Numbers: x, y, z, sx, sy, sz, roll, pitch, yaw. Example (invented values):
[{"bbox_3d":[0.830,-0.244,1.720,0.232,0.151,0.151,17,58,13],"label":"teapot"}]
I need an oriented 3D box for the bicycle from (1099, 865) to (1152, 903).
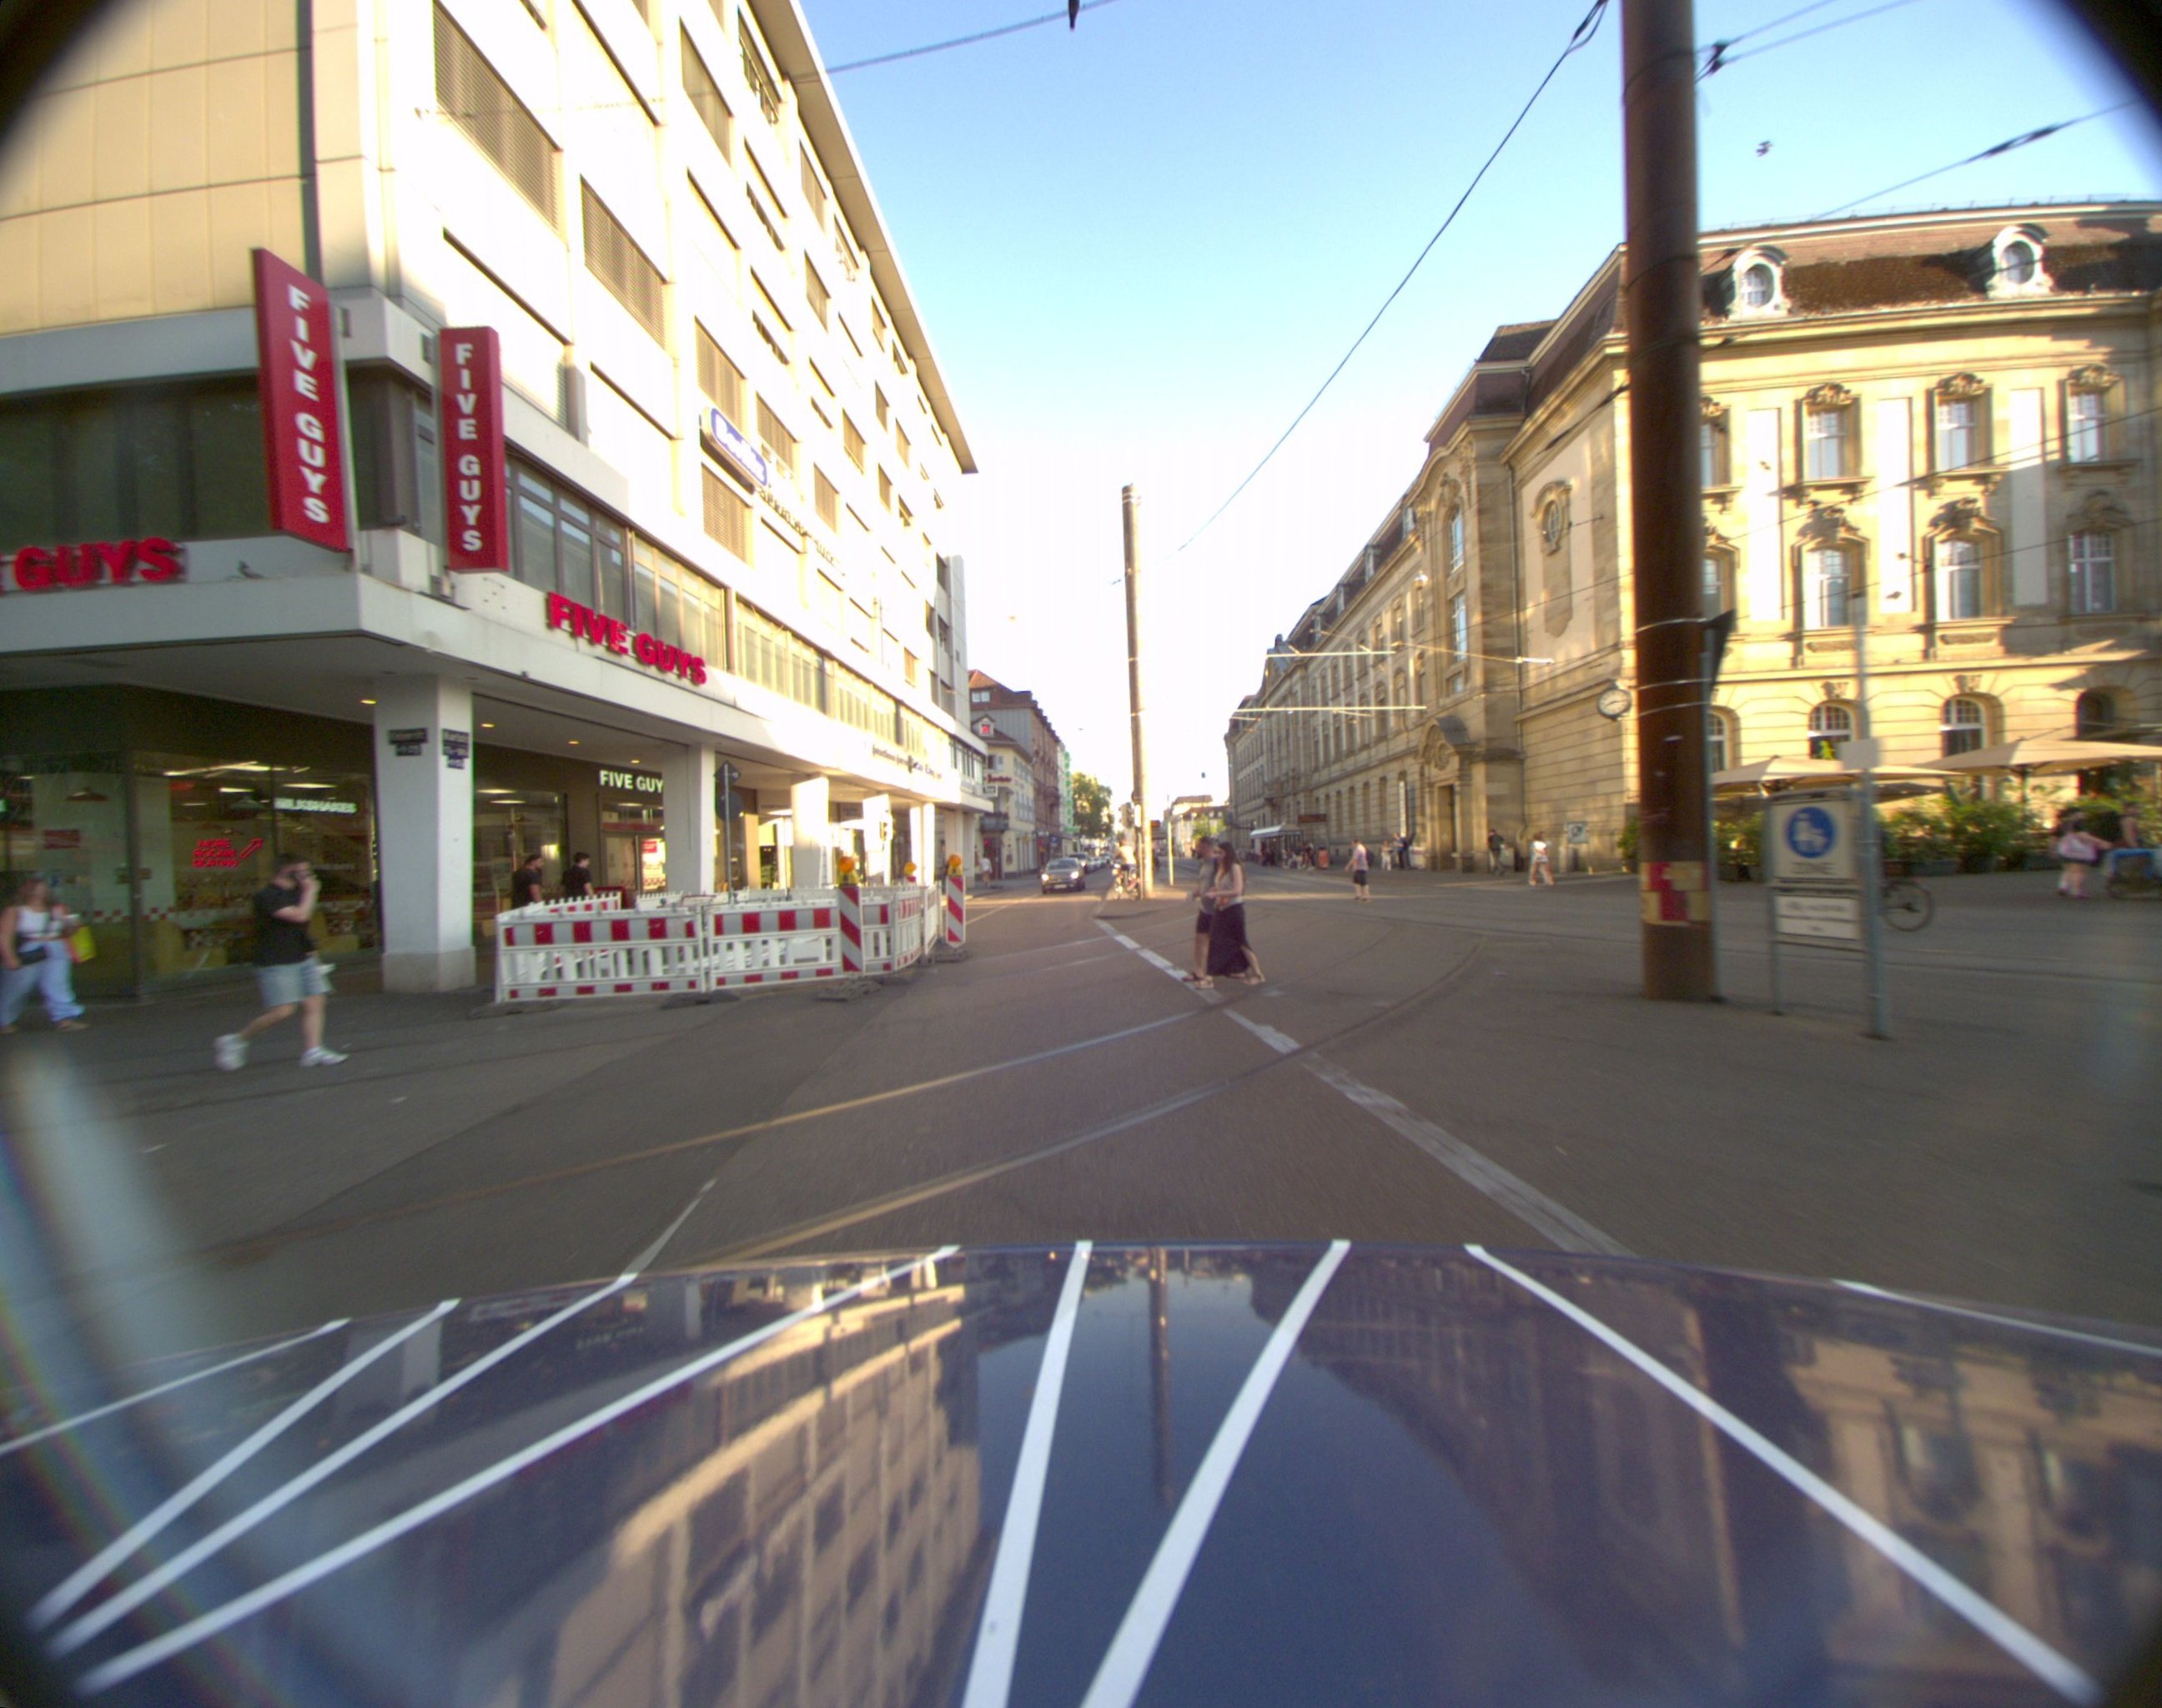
[{"bbox_3d":[1.336,0.882,23.029,0.631,1.097,1.621,-3,1,-42],"label":"bicycle"}]

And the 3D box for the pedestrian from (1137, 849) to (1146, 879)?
[{"bbox_3d":[3.439,0.570,43.236,0.386,1.632,0.549,-4,1,2],"label":"pedestrian"}]

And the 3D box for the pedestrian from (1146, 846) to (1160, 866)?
[{"bbox_3d":[5.962,0.150,62.655,0.686,1.628,0.863,-3,0,45],"label":"pedestrian"}]

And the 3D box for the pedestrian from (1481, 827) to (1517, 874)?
[{"bbox_3d":[15.051,-0.113,27.374,0.690,1.619,0.972,-3,0,3],"label":"pedestrian"}]

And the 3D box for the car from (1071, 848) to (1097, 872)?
[{"bbox_3d":[0.282,0.523,67.936,1.881,1.912,4.701,-5,0,4],"label":"car"}]

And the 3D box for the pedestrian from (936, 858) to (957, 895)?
[{"bbox_3d":[-6.352,1.049,35.946,0.702,1.683,0.540,-4,1,-33],"label":"pedestrian"}]

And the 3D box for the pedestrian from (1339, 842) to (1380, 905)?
[{"bbox_3d":[7.397,0.517,20.153,0.802,1.619,0.836,-3,0,32],"label":"pedestrian"}]

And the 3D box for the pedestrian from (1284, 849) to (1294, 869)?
[{"bbox_3d":[14.209,0.347,51.838,0.519,1.320,0.638,-3,1,8],"label":"pedestrian"}]

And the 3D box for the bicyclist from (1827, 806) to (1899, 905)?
[{"bbox_3d":[11.736,0.022,11.415,0.422,1.419,0.563,-4,1,-3],"label":"bicyclist"}]

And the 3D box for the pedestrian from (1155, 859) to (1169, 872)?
[{"bbox_3d":[6.127,0.838,57.592,0.798,0.933,0.694,-3,0,27],"label":"pedestrian"}]

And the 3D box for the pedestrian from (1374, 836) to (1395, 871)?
[{"bbox_3d":[14.739,-0.023,36.884,0.701,1.605,0.631,-4,1,3],"label":"pedestrian"}]

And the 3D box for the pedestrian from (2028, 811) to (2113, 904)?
[{"bbox_3d":[17.817,0.067,13.690,0.824,1.605,0.692,-3,0,-21],"label":"pedestrian"}]

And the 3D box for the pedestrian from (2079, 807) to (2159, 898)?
[{"bbox_3d":[19.072,-0.030,13.972,0.773,1.605,0.666,-3,0,-21],"label":"pedestrian"}]

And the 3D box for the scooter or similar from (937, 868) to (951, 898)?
[{"bbox_3d":[-7.097,1.489,39.398,0.314,1.480,1.315,-3,0,4],"label":"scooter or similar"}]

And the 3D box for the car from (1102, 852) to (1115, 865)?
[{"bbox_3d":[4.524,0.731,125.933,1.856,2.055,5.217,-2,0,4],"label":"car"}]

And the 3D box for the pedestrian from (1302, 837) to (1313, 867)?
[{"bbox_3d":[13.436,-0.139,44.983,0.468,1.766,0.562,-3,0,25],"label":"pedestrian"}]

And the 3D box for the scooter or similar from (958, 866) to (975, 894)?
[{"bbox_3d":[-5.354,1.193,35.501,0.506,1.227,1.180,-3,0,4],"label":"scooter or similar"}]

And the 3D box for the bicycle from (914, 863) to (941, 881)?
[{"bbox_3d":[-11.140,1.336,55.329,0.770,1.174,1.850,-3,1,35],"label":"bicycle"}]

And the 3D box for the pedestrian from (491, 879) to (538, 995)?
[{"bbox_3d":[-10.218,1.473,13.697,0.472,2.002,0.705,-5,1,-44],"label":"pedestrian"}]

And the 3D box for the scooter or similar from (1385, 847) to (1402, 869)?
[{"bbox_3d":[17.513,0.229,42.633,0.488,1.175,1.293,-4,0,6],"label":"scooter or similar"}]

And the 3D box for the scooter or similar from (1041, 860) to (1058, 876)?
[{"bbox_3d":[-2.325,1.035,56.110,1.177,1.227,0.317,-1,1,20],"label":"scooter or similar"}]

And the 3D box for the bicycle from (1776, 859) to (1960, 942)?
[{"bbox_3d":[11.807,0.652,11.515,0.574,1.091,2.022,-4,0,-3],"label":"bicycle"}]

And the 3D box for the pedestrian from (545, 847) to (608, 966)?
[{"bbox_3d":[-8.747,0.903,13.175,0.706,2.002,0.472,-3,1,22],"label":"pedestrian"}]

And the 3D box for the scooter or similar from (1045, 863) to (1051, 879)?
[{"bbox_3d":[-2.629,1.326,60.707,0.272,1.227,1.308,-1,1,8],"label":"scooter or similar"}]

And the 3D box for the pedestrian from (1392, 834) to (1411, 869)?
[{"bbox_3d":[16.531,-0.111,39.231,0.622,1.766,0.706,-3,0,1],"label":"pedestrian"}]

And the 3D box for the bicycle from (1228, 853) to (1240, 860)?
[{"bbox_3d":[21.188,0.335,105.533,1.578,0.869,0.451,-4,1,9],"label":"bicycle"}]

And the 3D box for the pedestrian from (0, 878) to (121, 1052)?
[{"bbox_3d":[-11.193,1.158,8.111,0.790,1.725,0.773,-4,1,3],"label":"pedestrian"}]

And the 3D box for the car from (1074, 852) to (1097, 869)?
[{"bbox_3d":[0.470,0.613,74.920,1.810,1.474,4.780,-5,-1,4],"label":"car"}]

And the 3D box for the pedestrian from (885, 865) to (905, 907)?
[{"bbox_3d":[-8.387,1.422,34.224,0.701,1.805,0.630,-4,1,-8],"label":"pedestrian"}]

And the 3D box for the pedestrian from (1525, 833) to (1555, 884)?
[{"bbox_3d":[14.005,0.135,23.209,0.520,1.516,0.501,-3,0,-17],"label":"pedestrian"}]

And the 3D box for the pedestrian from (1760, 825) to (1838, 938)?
[{"bbox_3d":[10.967,0.412,11.627,0.649,1.664,0.531,-2,0,12],"label":"pedestrian"}]

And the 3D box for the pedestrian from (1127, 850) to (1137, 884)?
[{"bbox_3d":[2.568,0.647,38.178,0.357,1.632,0.503,-4,1,2],"label":"pedestrian"}]

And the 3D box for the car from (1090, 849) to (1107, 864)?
[{"bbox_3d":[2.060,0.265,88.685,1.736,1.502,4.866,-5,0,4],"label":"car"}]

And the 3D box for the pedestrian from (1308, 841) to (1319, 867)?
[{"bbox_3d":[14.778,-0.006,48.368,0.519,1.636,0.638,-3,1,8],"label":"pedestrian"}]

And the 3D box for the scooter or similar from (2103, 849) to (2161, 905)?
[{"bbox_3d":[18.416,0.391,13.034,1.098,0.899,0.888,-3,0,-28],"label":"scooter or similar"}]

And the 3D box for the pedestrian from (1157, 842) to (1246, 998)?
[{"bbox_3d":[1.386,0.729,8.783,0.747,1.690,0.609,-3,1,-19],"label":"pedestrian"}]

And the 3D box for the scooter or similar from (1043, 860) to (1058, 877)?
[{"bbox_3d":[-2.297,1.087,56.810,1.049,1.227,0.271,-2,1,-28],"label":"scooter or similar"}]

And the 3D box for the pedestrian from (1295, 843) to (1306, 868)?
[{"bbox_3d":[14.115,0.074,48.952,0.519,1.560,0.638,-3,1,8],"label":"pedestrian"}]

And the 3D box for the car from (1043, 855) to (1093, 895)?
[{"bbox_3d":[-0.510,0.864,33.284,1.738,1.494,4.001,-4,0,4],"label":"car"}]

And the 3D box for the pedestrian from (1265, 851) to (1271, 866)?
[{"bbox_3d":[14.918,0.334,60.666,0.365,1.193,0.430,-4,1,10],"label":"pedestrian"}]

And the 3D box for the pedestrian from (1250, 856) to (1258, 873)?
[{"bbox_3d":[16.913,1.064,74.362,0.573,1.596,0.439,-4,1,-33],"label":"pedestrian"}]

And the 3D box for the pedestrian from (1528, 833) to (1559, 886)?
[{"bbox_3d":[13.677,0.162,22.480,0.528,1.516,0.502,-3,0,-22],"label":"pedestrian"}]

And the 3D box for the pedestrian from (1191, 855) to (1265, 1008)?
[{"bbox_3d":[1.599,0.814,8.270,0.572,1.584,0.447,-3,1,-22],"label":"pedestrian"}]

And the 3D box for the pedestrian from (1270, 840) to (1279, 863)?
[{"bbox_3d":[14.601,-0.182,57.304,0.518,1.641,0.639,-2,1,26],"label":"pedestrian"}]

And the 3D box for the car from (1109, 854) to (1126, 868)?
[{"bbox_3d":[4.395,0.790,91.258,1.810,1.474,4.285,-5,-1,4],"label":"car"}]

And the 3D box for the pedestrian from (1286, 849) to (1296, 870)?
[{"bbox_3d":[14.072,0.359,50.975,0.519,1.320,0.638,-3,1,8],"label":"pedestrian"}]

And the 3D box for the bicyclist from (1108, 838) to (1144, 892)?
[{"bbox_3d":[1.357,0.341,22.959,0.611,1.584,0.789,-3,1,-42],"label":"bicyclist"}]

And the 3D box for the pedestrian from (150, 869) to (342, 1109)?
[{"bbox_3d":[-6.707,1.028,6.158,0.724,1.759,0.669,-4,1,-21],"label":"pedestrian"}]

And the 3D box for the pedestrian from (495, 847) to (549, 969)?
[{"bbox_3d":[-9.605,0.907,13.043,0.518,2.002,0.779,-5,1,-44],"label":"pedestrian"}]

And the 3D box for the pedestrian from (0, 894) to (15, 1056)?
[{"bbox_3d":[-11.288,1.244,7.351,0.826,1.621,0.713,-4,1,3],"label":"pedestrian"}]

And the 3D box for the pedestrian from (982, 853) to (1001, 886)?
[{"bbox_3d":[-5.050,0.889,42.932,0.700,1.805,0.853,-4,0,11],"label":"pedestrian"}]

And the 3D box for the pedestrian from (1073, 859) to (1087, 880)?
[{"bbox_3d":[-0.072,1.263,62.232,0.970,1.619,0.692,-3,0,15],"label":"pedestrian"}]

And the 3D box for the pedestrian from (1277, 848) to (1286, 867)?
[{"bbox_3d":[14.591,0.247,55.197,0.519,1.320,0.638,-3,1,8],"label":"pedestrian"}]
